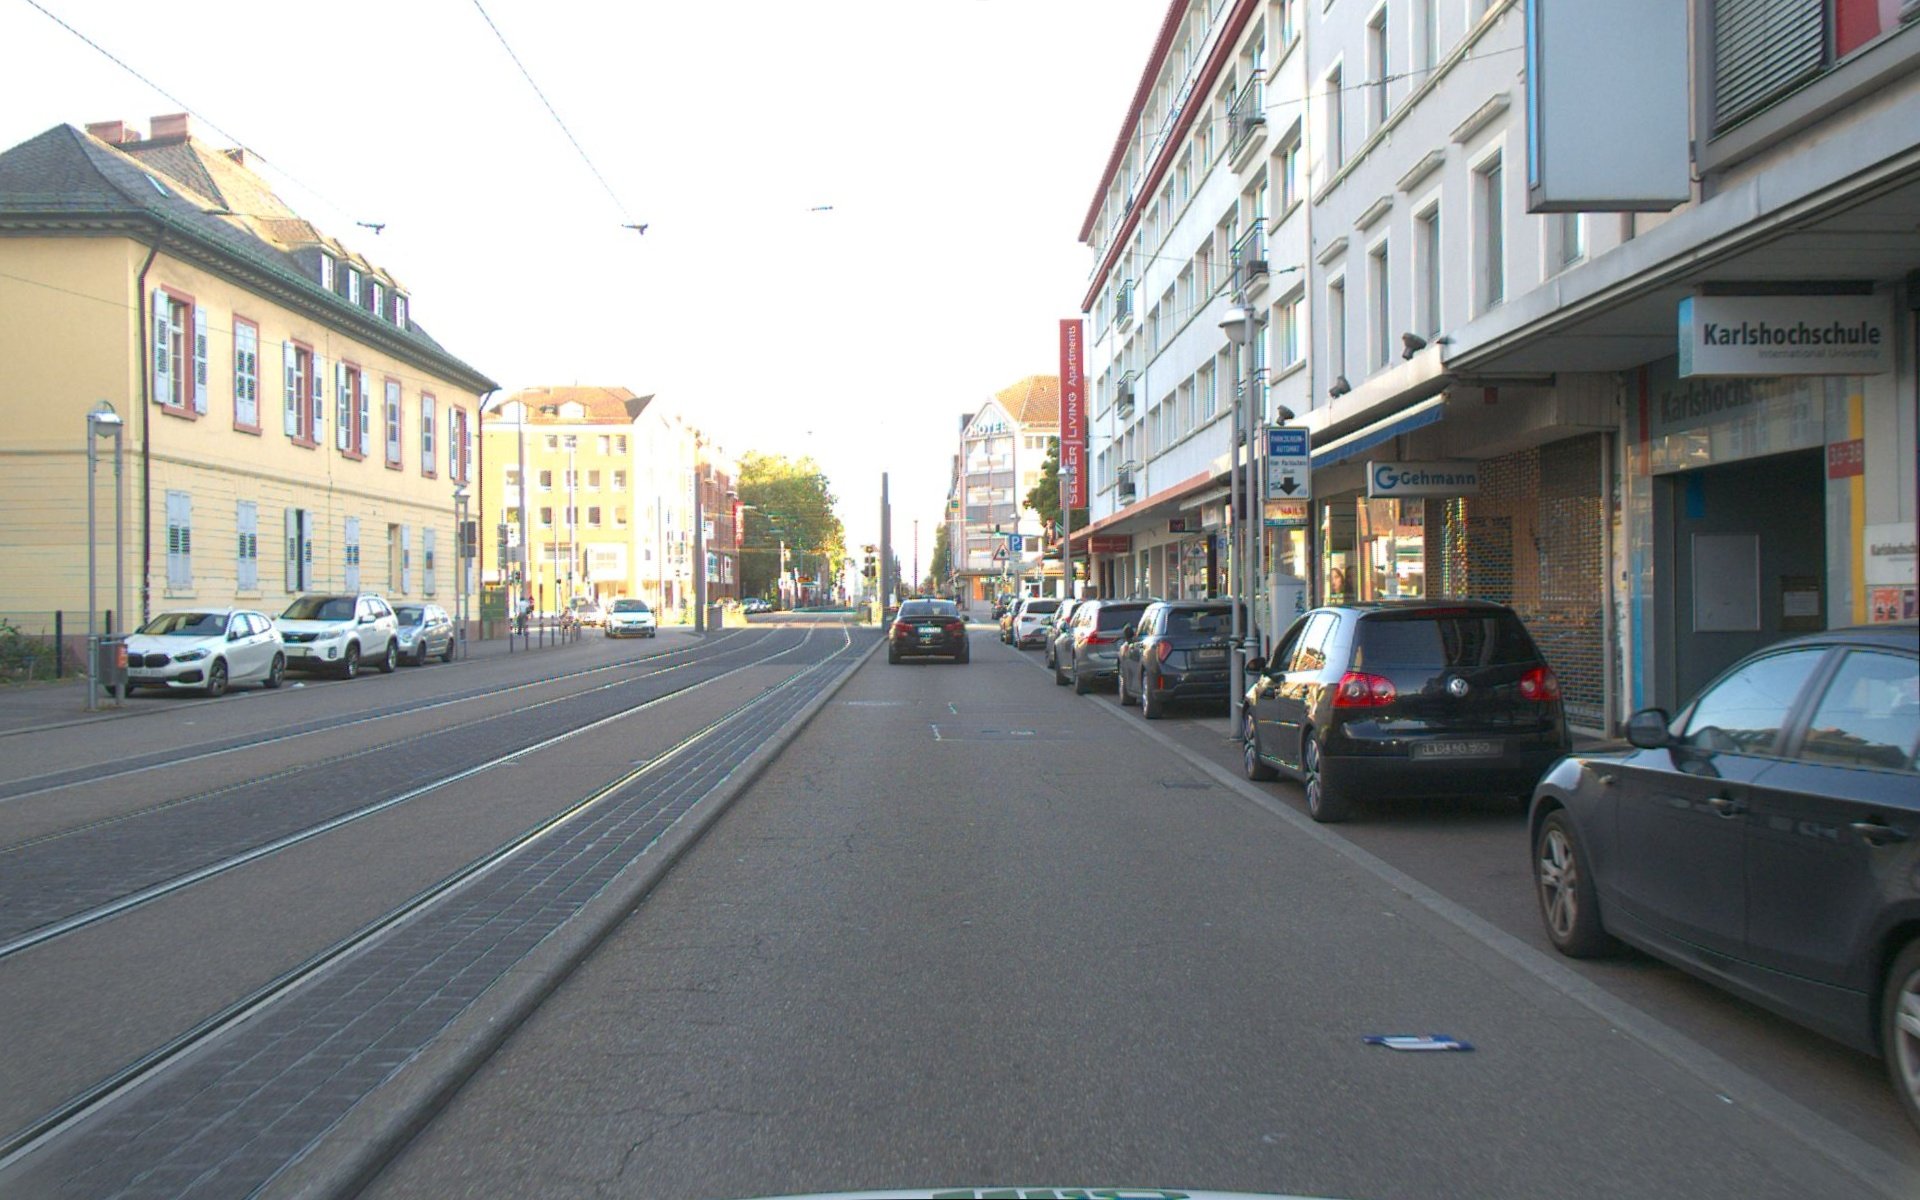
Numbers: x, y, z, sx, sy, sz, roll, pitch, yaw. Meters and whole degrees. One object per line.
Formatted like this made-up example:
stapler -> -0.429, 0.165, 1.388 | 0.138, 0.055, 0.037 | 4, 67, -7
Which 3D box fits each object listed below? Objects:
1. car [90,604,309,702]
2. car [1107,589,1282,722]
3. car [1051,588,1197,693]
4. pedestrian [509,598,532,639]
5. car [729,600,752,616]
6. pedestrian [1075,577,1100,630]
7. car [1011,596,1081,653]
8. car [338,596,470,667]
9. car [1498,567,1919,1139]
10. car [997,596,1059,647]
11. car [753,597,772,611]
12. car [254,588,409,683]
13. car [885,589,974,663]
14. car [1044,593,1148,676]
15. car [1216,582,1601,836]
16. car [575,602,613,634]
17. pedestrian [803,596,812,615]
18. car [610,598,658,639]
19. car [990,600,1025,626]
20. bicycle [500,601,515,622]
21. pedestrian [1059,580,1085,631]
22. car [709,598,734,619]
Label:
car -> -13.286, 0.869, 29.211 | 1.775, 1.538, 4.432 | -1, 0, 1
car -> 2.999, 0.665, 21.931 | 1.651, 1.538, 4.034 | -2, 0, -1
car -> 2.636, 0.613, 27.607 | 1.754, 1.538, 4.709 | -2, 0, -2
pedestrian -> -17.382, 0.734, 65.493 | 0.717, 1.612, 0.954 | -1, 0, -6
car -> -22.048, 0.788, 166.103 | 1.954, 1.612, 4.583 | -1, 0, -4
pedestrian -> 4.423, 0.120, 57.357 | 0.714, 1.771, 0.863 | -2, 0, -1
car -> 2.463, 0.684, 48.275 | 1.749, 1.538, 4.051 | -2, 0, -1
car -> -13.660, 0.736, 40.884 | 1.775, 1.645, 4.215 | -1, 0, 1
car -> 3.419, 0.660, 5.617 | 1.708, 1.538, 4.257 | -2, 0, -1
car -> 2.149, 0.660, 53.562 | 1.700, 1.538, 4.685 | -2, 0, -1
car -> -23.087, 0.425, 193.473 | 1.954, 1.612, 4.475 | -1, 0, -4
car -> -13.261, 0.711, 35.189 | 1.777, 1.817, 4.494 | 2, 0, -4
car -> -0.716, 0.576, 38.872 | 1.953, 1.612, 3.999 | -1, 0, -1
car -> 2.733, 0.652, 34.038 | 1.700, 1.538, 4.302 | -2, 0, -1
car -> 3.151, 0.681, 12.511 | 1.685, 1.538, 4.166 | -2, 0, -1
car -> -18.441, 0.870, 83.472 | 1.704, 1.538, 4.024 | -1, 0, -11
pedestrian -> -17.270, 0.614, 187.169 | 0.968, 2.049, 0.725 | 1, -1, -3
car -> -12.920, 0.724, 65.370 | 1.774, 1.538, 4.022 | -1, 0, -12
car -> 2.937, 0.797, 102.970 | 1.953, 1.579, 3.999 | -1, 0, -1
bicycle -> -30.698, 0.763, 112.183 | 0.606, 1.348, 2.013 | 1, 0, -5
pedestrian -> 3.944, 0.204, 58.333 | 0.810, 1.748, 0.843 | -2, 0, -1
car -> -22.395, 0.780, 155.354 | 1.954, 1.934, 4.808 | -1, 0, -4
